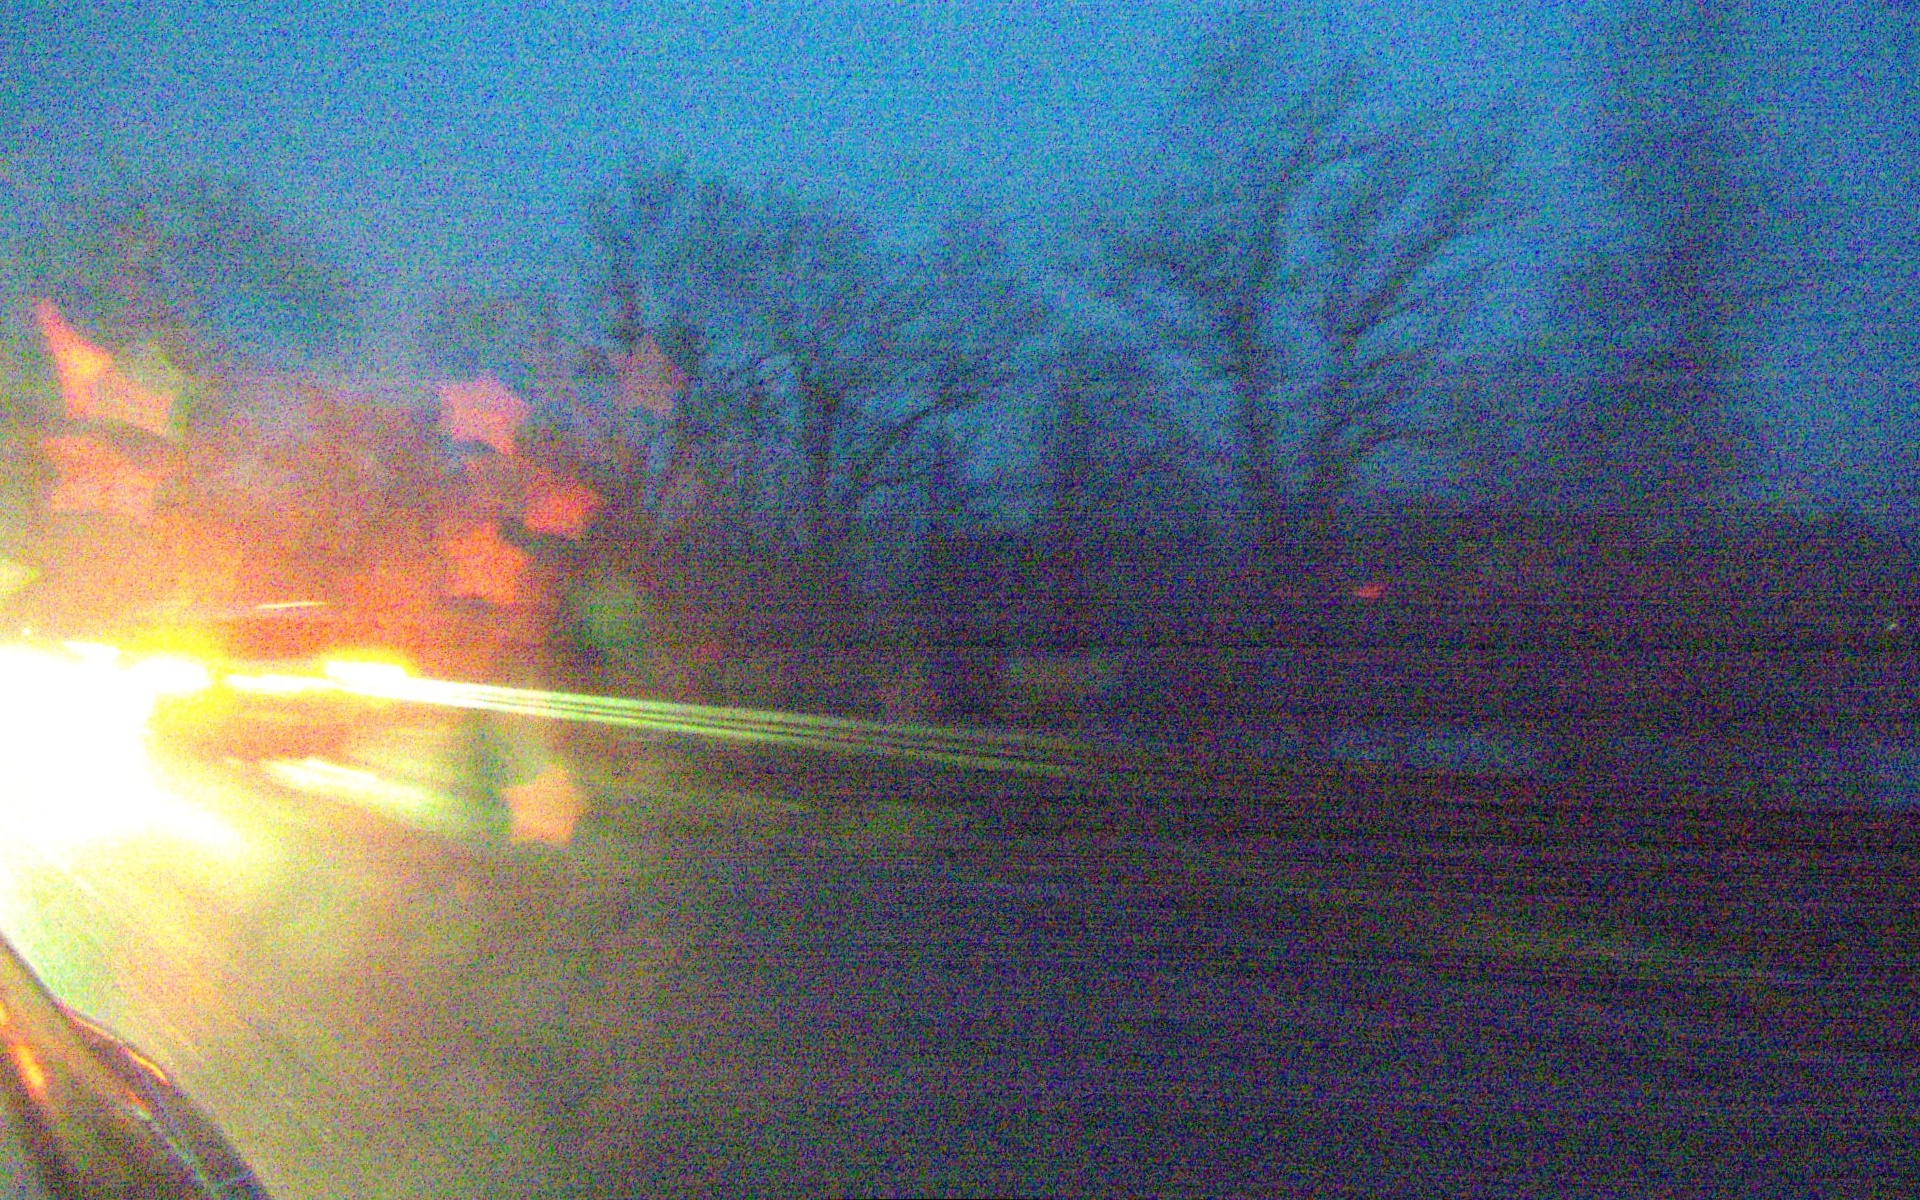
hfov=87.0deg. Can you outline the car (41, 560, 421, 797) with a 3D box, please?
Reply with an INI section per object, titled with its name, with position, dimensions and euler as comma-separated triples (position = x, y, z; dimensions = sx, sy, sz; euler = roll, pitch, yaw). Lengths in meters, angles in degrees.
[car]
position = -7.102, 0.693, 9.733
dimensions = 3.996, 1.795, 1.973
euler = -2, -4, 40
